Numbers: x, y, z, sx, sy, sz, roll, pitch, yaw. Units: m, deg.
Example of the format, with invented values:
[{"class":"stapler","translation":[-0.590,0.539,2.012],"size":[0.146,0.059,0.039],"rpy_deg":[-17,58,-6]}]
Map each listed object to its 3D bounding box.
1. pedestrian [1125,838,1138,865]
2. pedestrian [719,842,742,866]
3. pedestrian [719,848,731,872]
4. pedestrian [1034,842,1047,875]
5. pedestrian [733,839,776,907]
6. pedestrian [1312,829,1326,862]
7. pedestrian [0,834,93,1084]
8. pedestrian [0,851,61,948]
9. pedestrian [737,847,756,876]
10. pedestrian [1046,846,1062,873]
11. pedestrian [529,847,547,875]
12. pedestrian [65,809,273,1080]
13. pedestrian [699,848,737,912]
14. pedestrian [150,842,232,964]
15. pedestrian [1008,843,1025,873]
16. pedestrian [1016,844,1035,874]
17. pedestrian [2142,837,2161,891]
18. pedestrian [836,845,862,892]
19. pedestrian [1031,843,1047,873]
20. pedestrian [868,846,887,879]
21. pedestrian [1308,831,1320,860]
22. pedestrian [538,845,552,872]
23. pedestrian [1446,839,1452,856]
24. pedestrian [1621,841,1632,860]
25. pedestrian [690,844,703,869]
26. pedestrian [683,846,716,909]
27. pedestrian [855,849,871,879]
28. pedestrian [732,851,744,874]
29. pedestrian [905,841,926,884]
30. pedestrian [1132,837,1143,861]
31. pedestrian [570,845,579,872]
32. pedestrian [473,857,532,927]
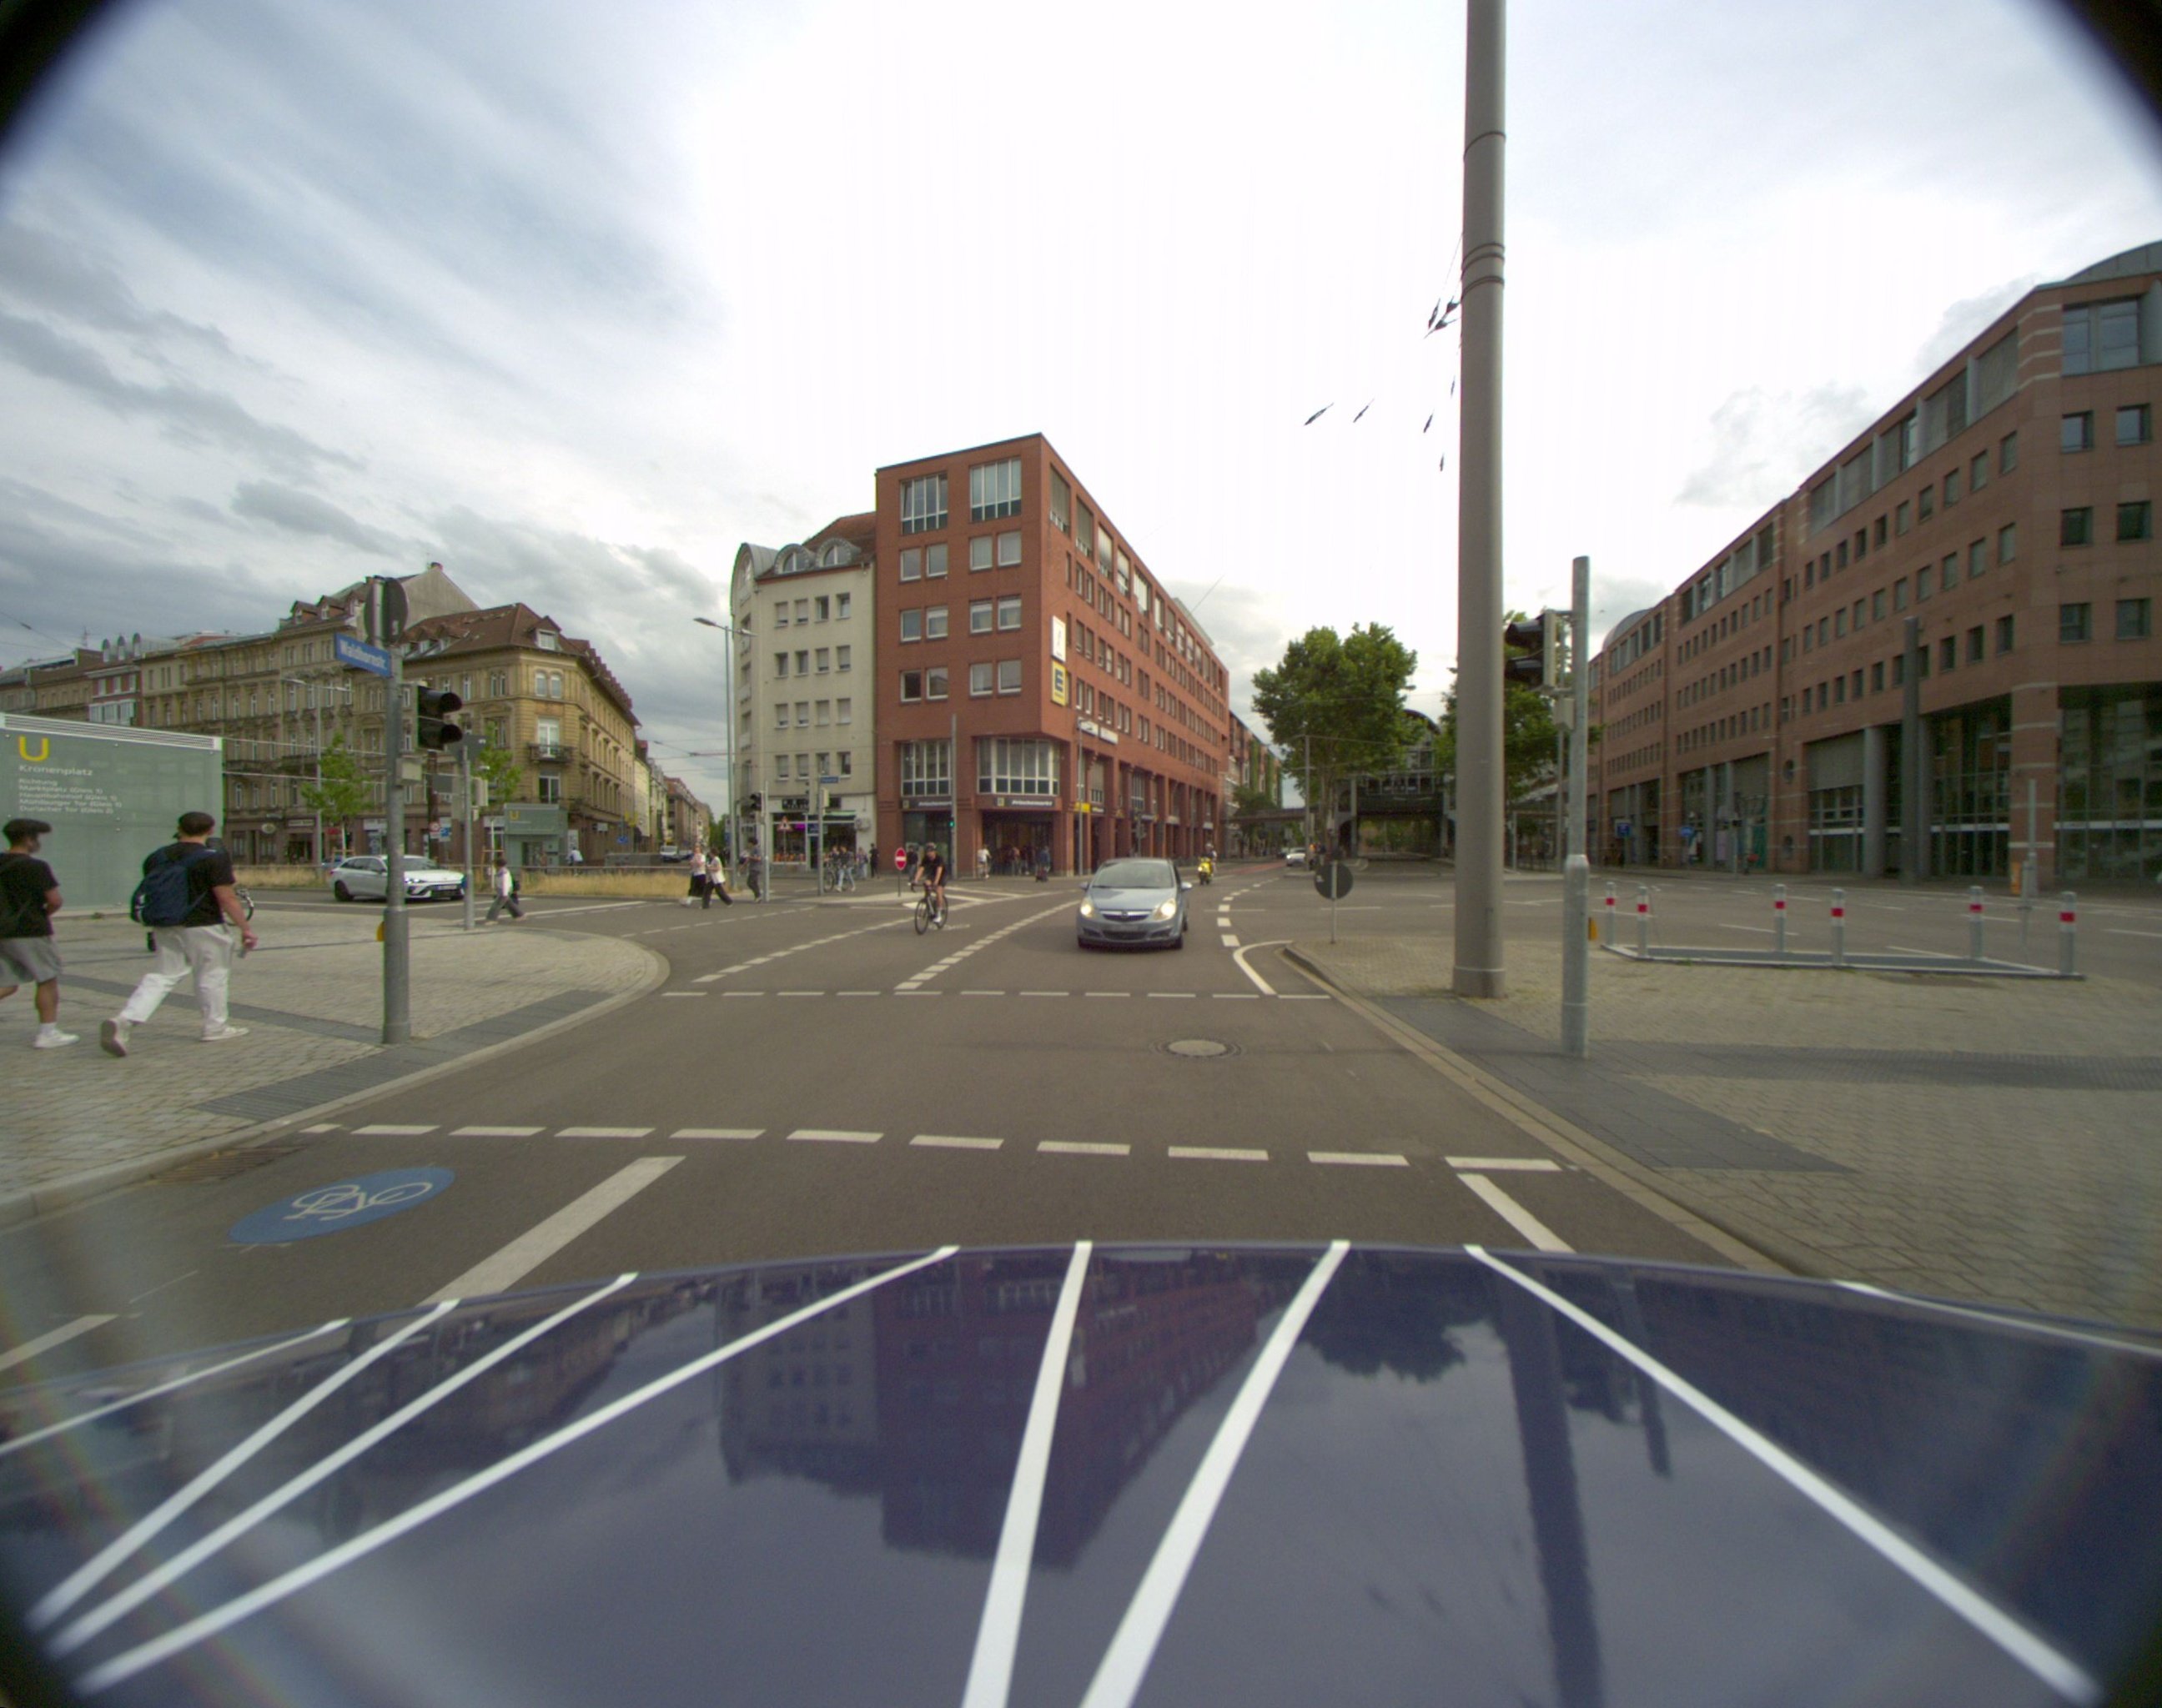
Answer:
[{"class":"pedestrian","translation":[3.222,-0.183,48.712],"size":[0.646,1.687,0.698],"rpy_deg":[2,3,18]},{"class":"pedestrian","translation":[-27.538,-0.021,59.768],"size":[1.163,1.818,1.132],"rpy_deg":[0,2,12]},{"class":"pedestrian","translation":[-25.047,0.420,53.449],"size":[0.518,1.713,0.542],"rpy_deg":[1,3,43]},{"class":"pedestrian","translation":[-2.220,0.244,41.697],"size":[0.541,1.787,0.562],"rpy_deg":[0,1,21]},{"class":"pedestrian","translation":[-9.113,0.507,21.226],"size":[0.639,1.844,0.878],"rpy_deg":[0,1,21]},{"class":"pedestrian","translation":[13.897,-0.497,44.405],"size":[0.692,1.864,0.808],"rpy_deg":[0,2,22]},{"class":"pedestrian","translation":[-8.180,0.744,5.682],"size":[0.678,1.789,0.884],"rpy_deg":[2,0,-32]},{"class":"pedestrian","translation":[-18.935,0.799,13.535],"size":[0.804,1.671,0.627],"rpy_deg":[-2,2,20]},{"class":"pedestrian","translation":[-18.964,0.408,43.122],"size":[0.790,1.618,0.719],"rpy_deg":[1,2,43]},{"class":"pedestrian","translation":[-1.598,0.324,45.451],"size":[0.619,1.592,0.923],"rpy_deg":[0,2,21]},{"class":"pedestrian","translation":[-32.843,0.404,45.963],"size":[0.731,1.676,0.606],"rpy_deg":[1,6,45]},{"class":"pedestrian","translation":[-7.250,0.660,6.110],"size":[0.722,1.960,1.011],"rpy_deg":[2,0,-29]},{"class":"pedestrian","translation":[-9.712,0.683,20.322],"size":[0.469,1.676,0.797],"rpy_deg":[0,2,16]},{"class":"pedestrian","translation":[-13.318,0.697,11.370],"size":[0.935,1.730,0.687],"rpy_deg":[1,2,35]},{"class":"pedestrian","translation":[-3.546,0.213,41.771],"size":[0.541,1.642,0.894],"rpy_deg":[0,1,21]},{"class":"pedestrian","translation":[-3.216,0.275,44.016],"size":[0.647,1.705,1.057],"rpy_deg":[0,2,21]},{"class":"pedestrian","translation":[29.654,0.261,20.568],"size":[0.797,1.464,0.685],"rpy_deg":[0,2,21]},{"class":"pedestrian","translation":[-8.344,0.512,27.309],"size":[0.520,1.676,0.727],"rpy_deg":[0,2,21]},{"class":"pedestrian","translation":[-2.415,0.241,43.610],"size":[0.647,1.679,0.651],"rpy_deg":[0,3,21]},{"class":"pedestrian","translation":[-10.300,0.408,38.460],"size":[0.708,1.638,0.719],"rpy_deg":[-1,1,-32]},{"class":"pedestrian","translation":[14.279,-0.536,46.609],"size":[0.534,1.781,0.578],"rpy_deg":[1,2,41]},{"class":"pedestrian","translation":[-33.181,0.262,47.052],"size":[0.423,1.675,0.516],"rpy_deg":[0,2,22]},{"class":"pedestrian","translation":[37.298,-0.666,76.977],"size":[0.481,1.761,0.482],"rpy_deg":[0,2,14]},{"class":"pedestrian","translation":[44.179,-0.305,61.560],"size":[0.528,1.565,0.602],"rpy_deg":[0,2,21]},{"class":"pedestrian","translation":[-26.579,0.146,52.504],"size":[0.518,1.713,0.593],"rpy_deg":[1,2,41]},{"class":"pedestrian","translation":[-10.484,0.631,20.873],"size":[0.707,1.685,0.633],"rpy_deg":[-1,2,-37]},{"class":"pedestrian","translation":[-10.944,0.486,38.142],"size":[0.594,1.502,0.628],"rpy_deg":[-1,1,-32]},{"class":"pedestrian","translation":[-24.449,0.612,54.131],"size":[0.543,1.627,0.584],"rpy_deg":[1,2,41]},{"class":"pedestrian","translation":[-7.108,0.355,32.590],"size":[0.568,1.813,0.696],"rpy_deg":[0,1,20]},{"class":"pedestrian","translation":[3.764,-0.335,50.682],"size":[0.406,1.623,0.733],"rpy_deg":[3,3,29]},{"class":"pedestrian","translation":[-32.567,0.280,48.890],"size":[0.425,1.675,0.514],"rpy_deg":[-1,2,-36]},{"class":"pedestrian","translation":[-12.990,0.839,17.088],"size":[0.552,1.493,0.847],"rpy_deg":[0,3,5]}]
